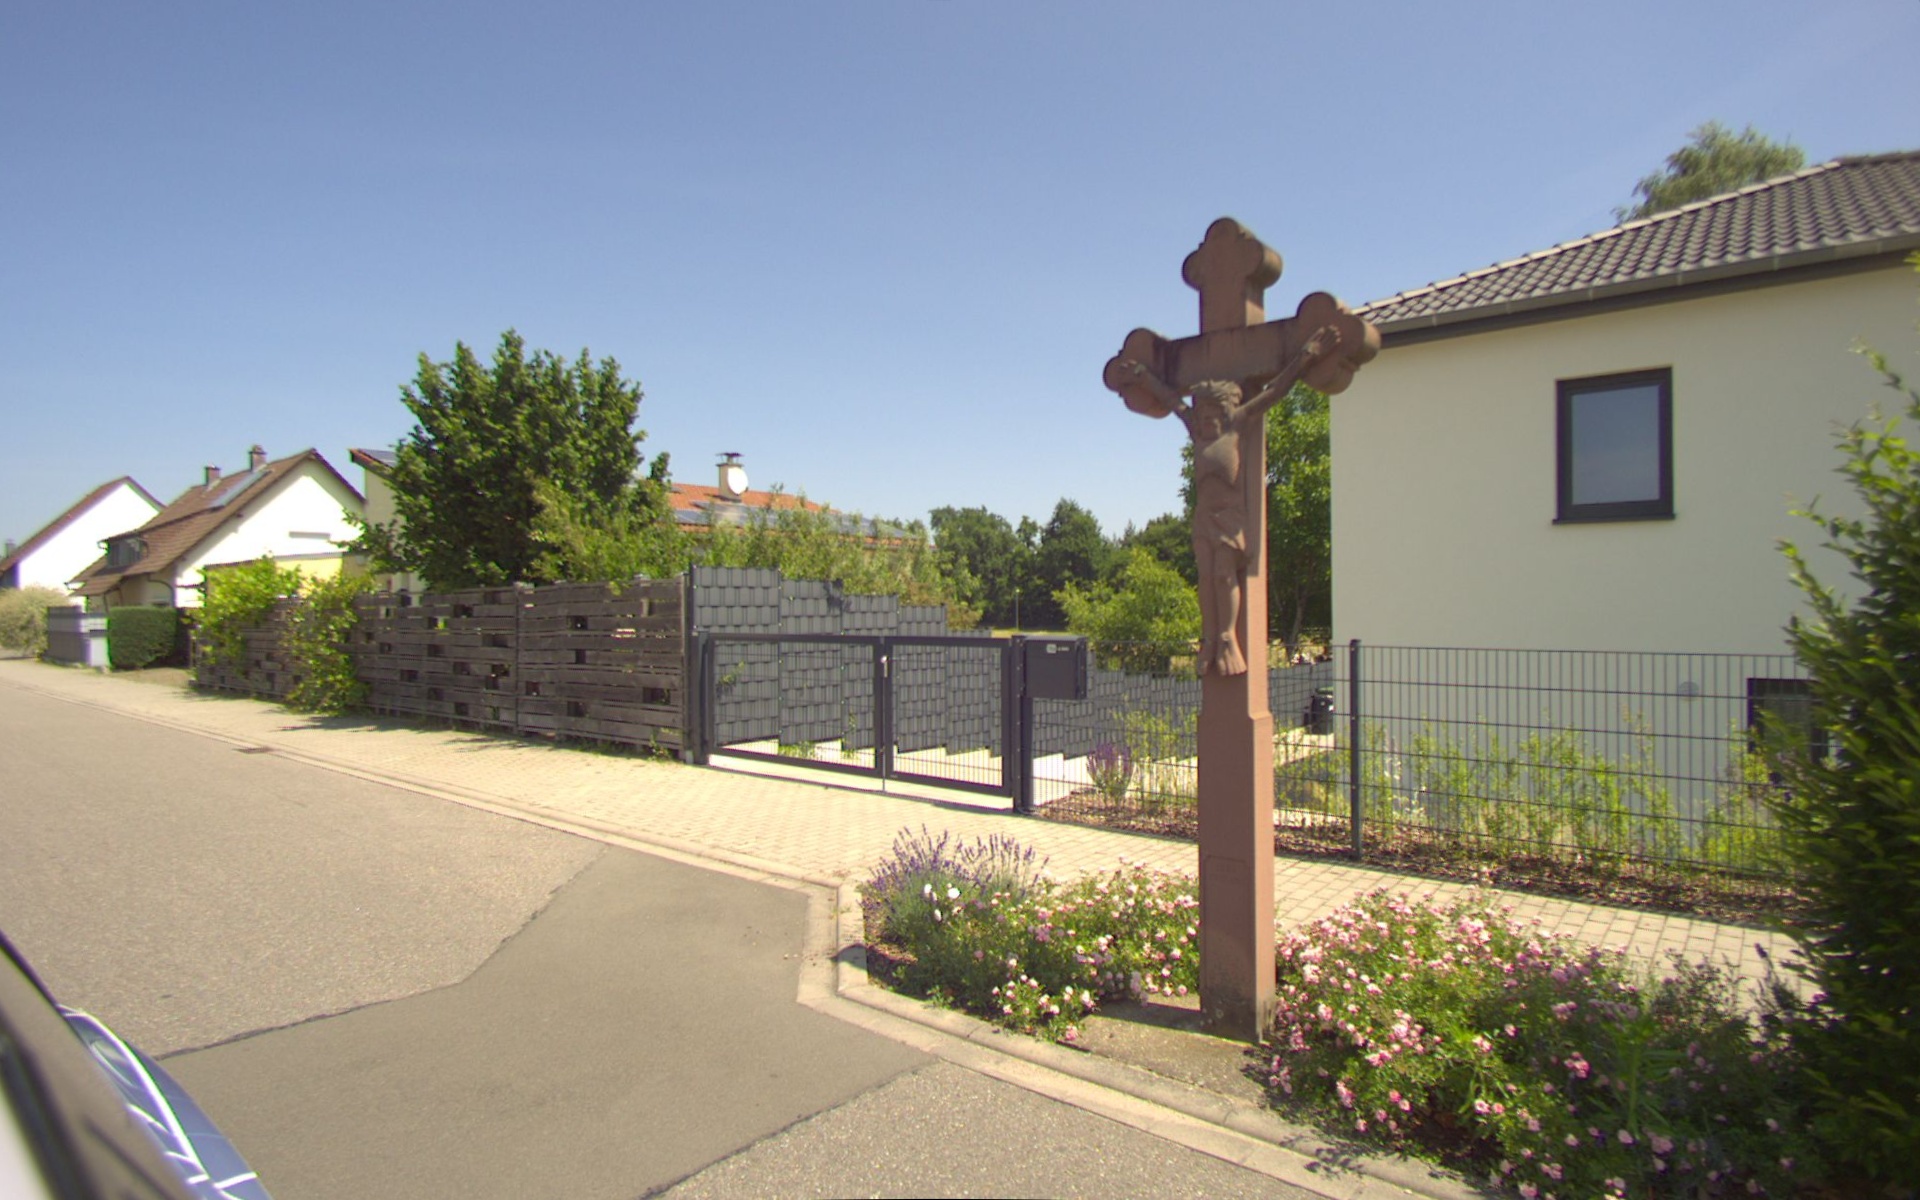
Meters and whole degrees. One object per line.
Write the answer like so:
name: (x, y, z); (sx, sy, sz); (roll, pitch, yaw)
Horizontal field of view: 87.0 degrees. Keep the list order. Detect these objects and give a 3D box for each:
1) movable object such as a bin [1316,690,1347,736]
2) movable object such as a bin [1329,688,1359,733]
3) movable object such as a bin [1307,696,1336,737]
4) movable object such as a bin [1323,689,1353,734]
movable object such as a bin: (8.920, 2.714, 24.304); (0.612, 1.043, 0.348); (-1, -1, 42)
movable object such as a bin: (9.419, 2.707, 24.847); (0.612, 1.043, 0.306); (-1, -1, 43)
movable object such as a bin: (8.578, 2.767, 24.022); (0.563, 0.905, 0.351); (-1, -1, 42)
movable object such as a bin: (9.176, 2.695, 24.571); (0.612, 1.043, 0.306); (-1, -1, 43)
